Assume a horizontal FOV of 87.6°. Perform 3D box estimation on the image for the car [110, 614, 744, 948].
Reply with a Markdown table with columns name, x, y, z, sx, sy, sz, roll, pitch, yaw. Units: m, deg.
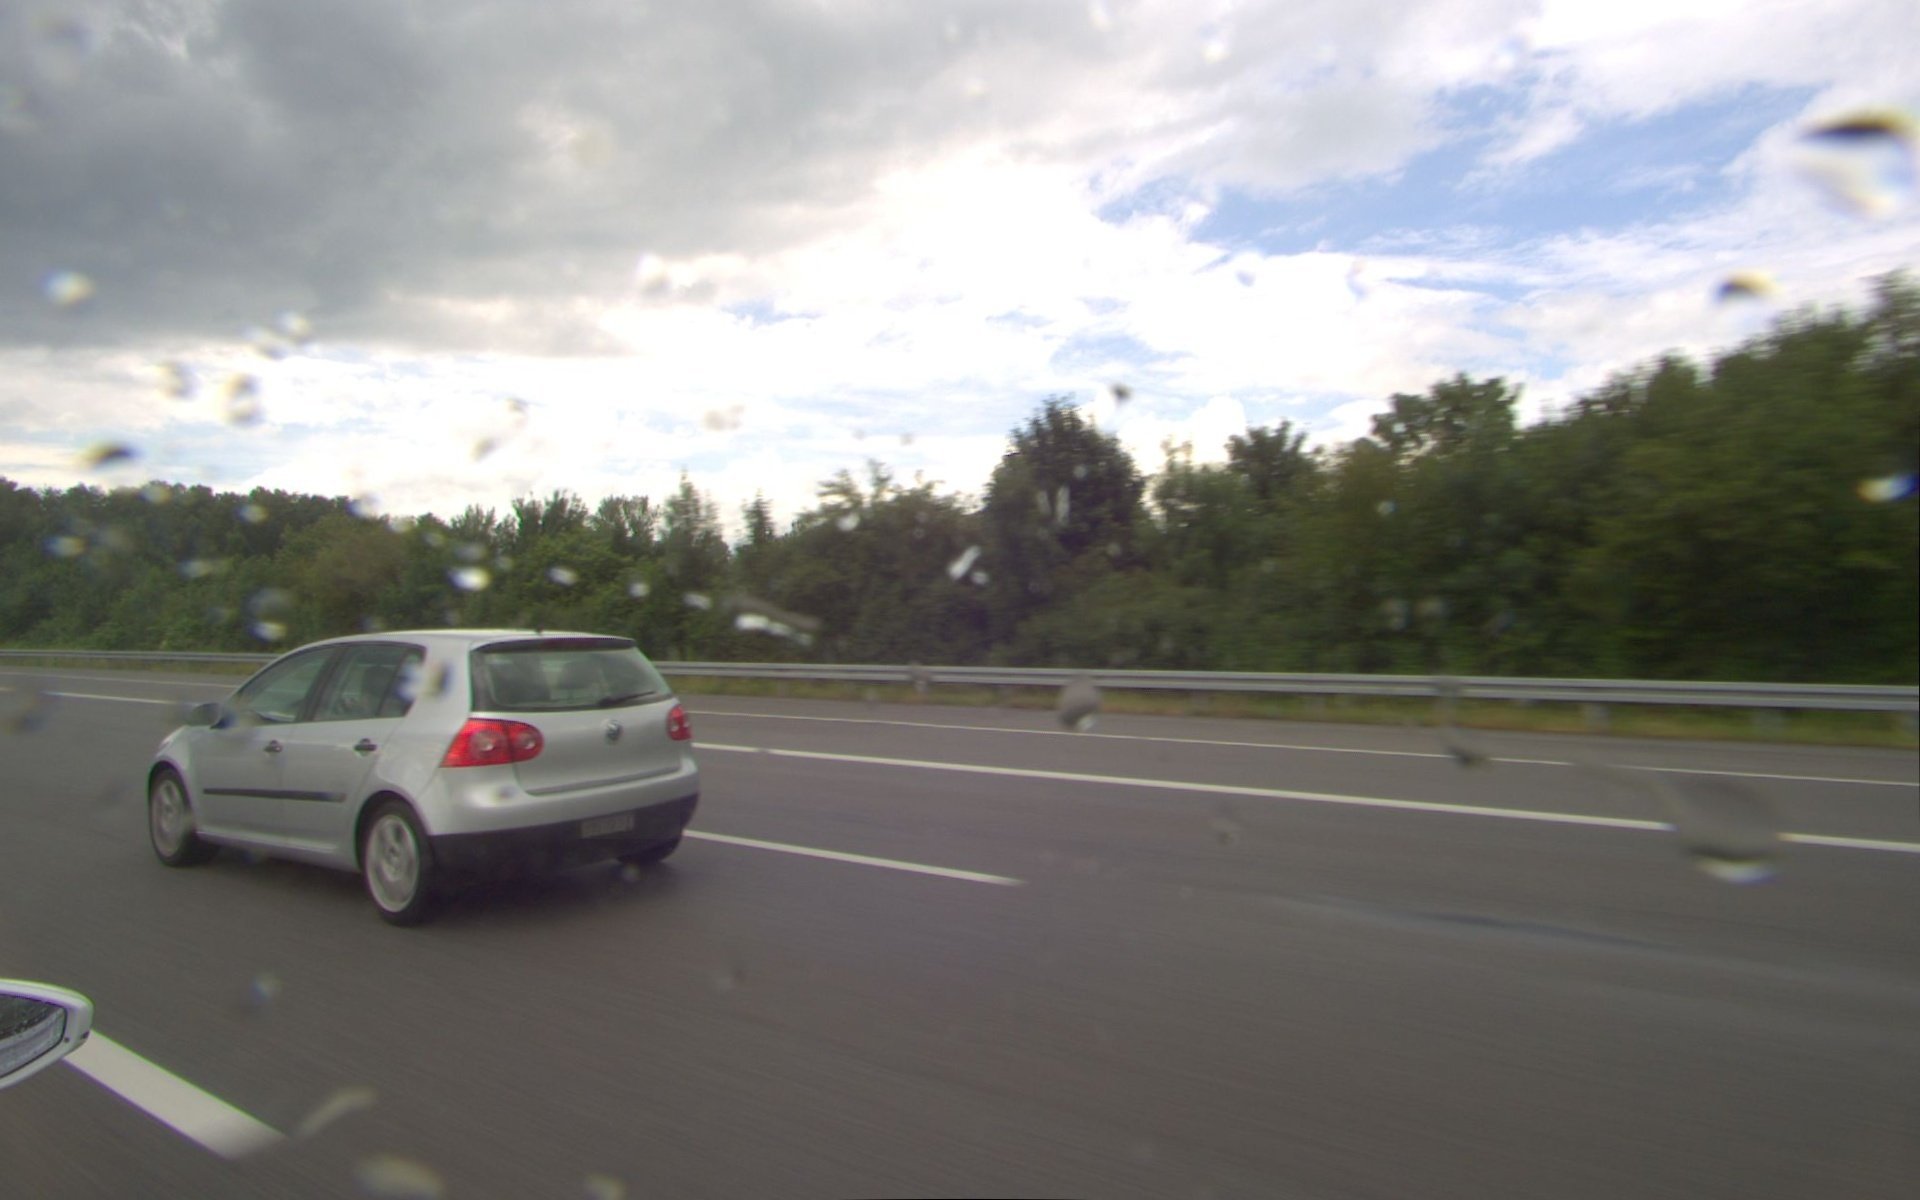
| name | x | y | z | sx | sy | sz | roll | pitch | yaw |
| --- | --- | --- | --- | --- | --- | --- | --- | --- | --- |
| car | -3.448 | 0.856 | 6.312 | 3.979 | 1.496 | 1.792 | -1 | -1 | 32 |
